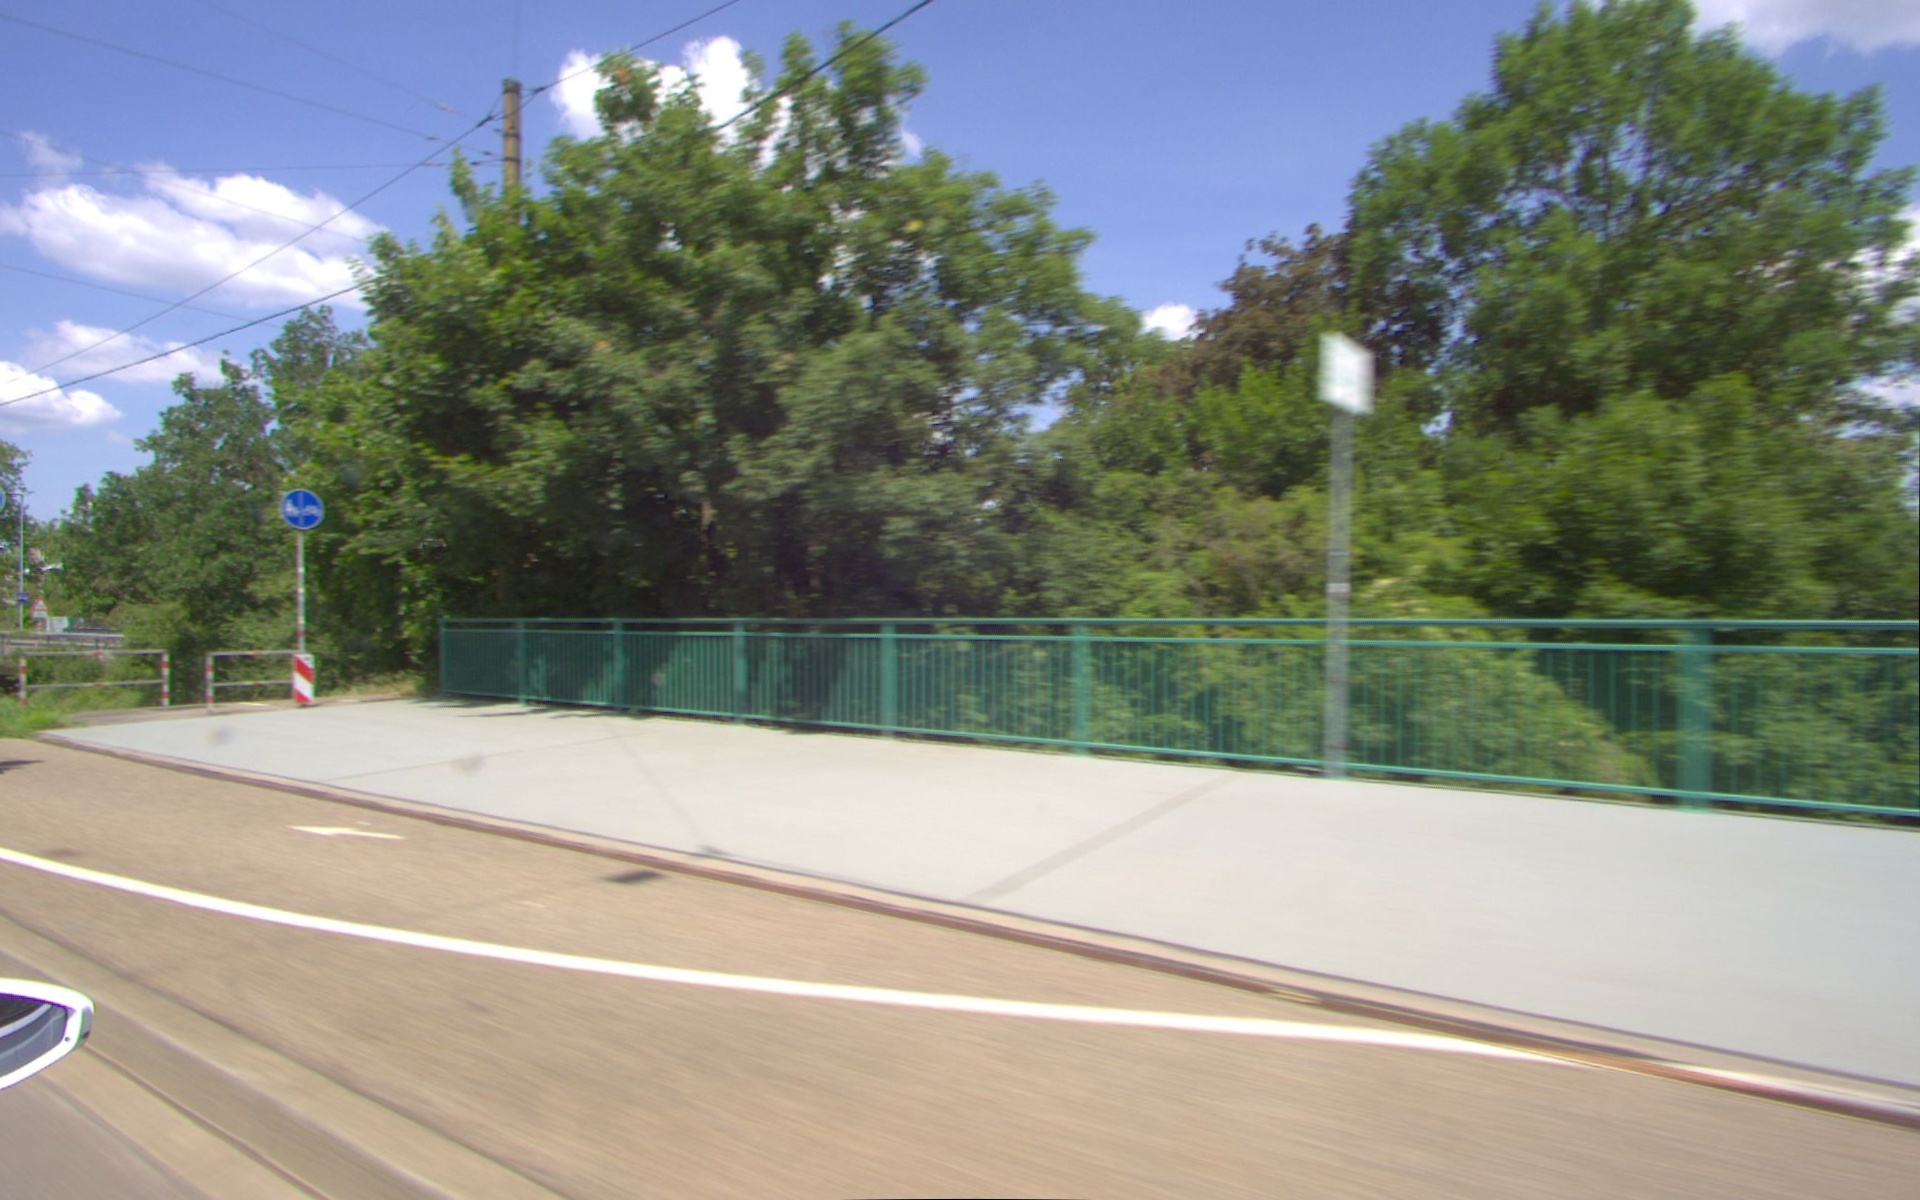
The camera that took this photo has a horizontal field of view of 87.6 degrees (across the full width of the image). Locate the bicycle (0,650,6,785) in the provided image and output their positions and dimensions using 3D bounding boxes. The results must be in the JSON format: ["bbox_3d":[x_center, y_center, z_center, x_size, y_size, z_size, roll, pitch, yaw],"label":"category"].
[{"bbox_3d":[-9.241,1.001,9.155,1.830,1.167,0.431,3,0,37],"label":"bicycle"}]

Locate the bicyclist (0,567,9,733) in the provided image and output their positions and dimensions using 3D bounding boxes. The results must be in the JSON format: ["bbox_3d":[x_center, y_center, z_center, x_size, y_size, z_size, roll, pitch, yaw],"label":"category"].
[{"bbox_3d":[-9.100,0.438,9.073,0.550,1.514,0.583,3,0,37],"label":"bicyclist"}]
